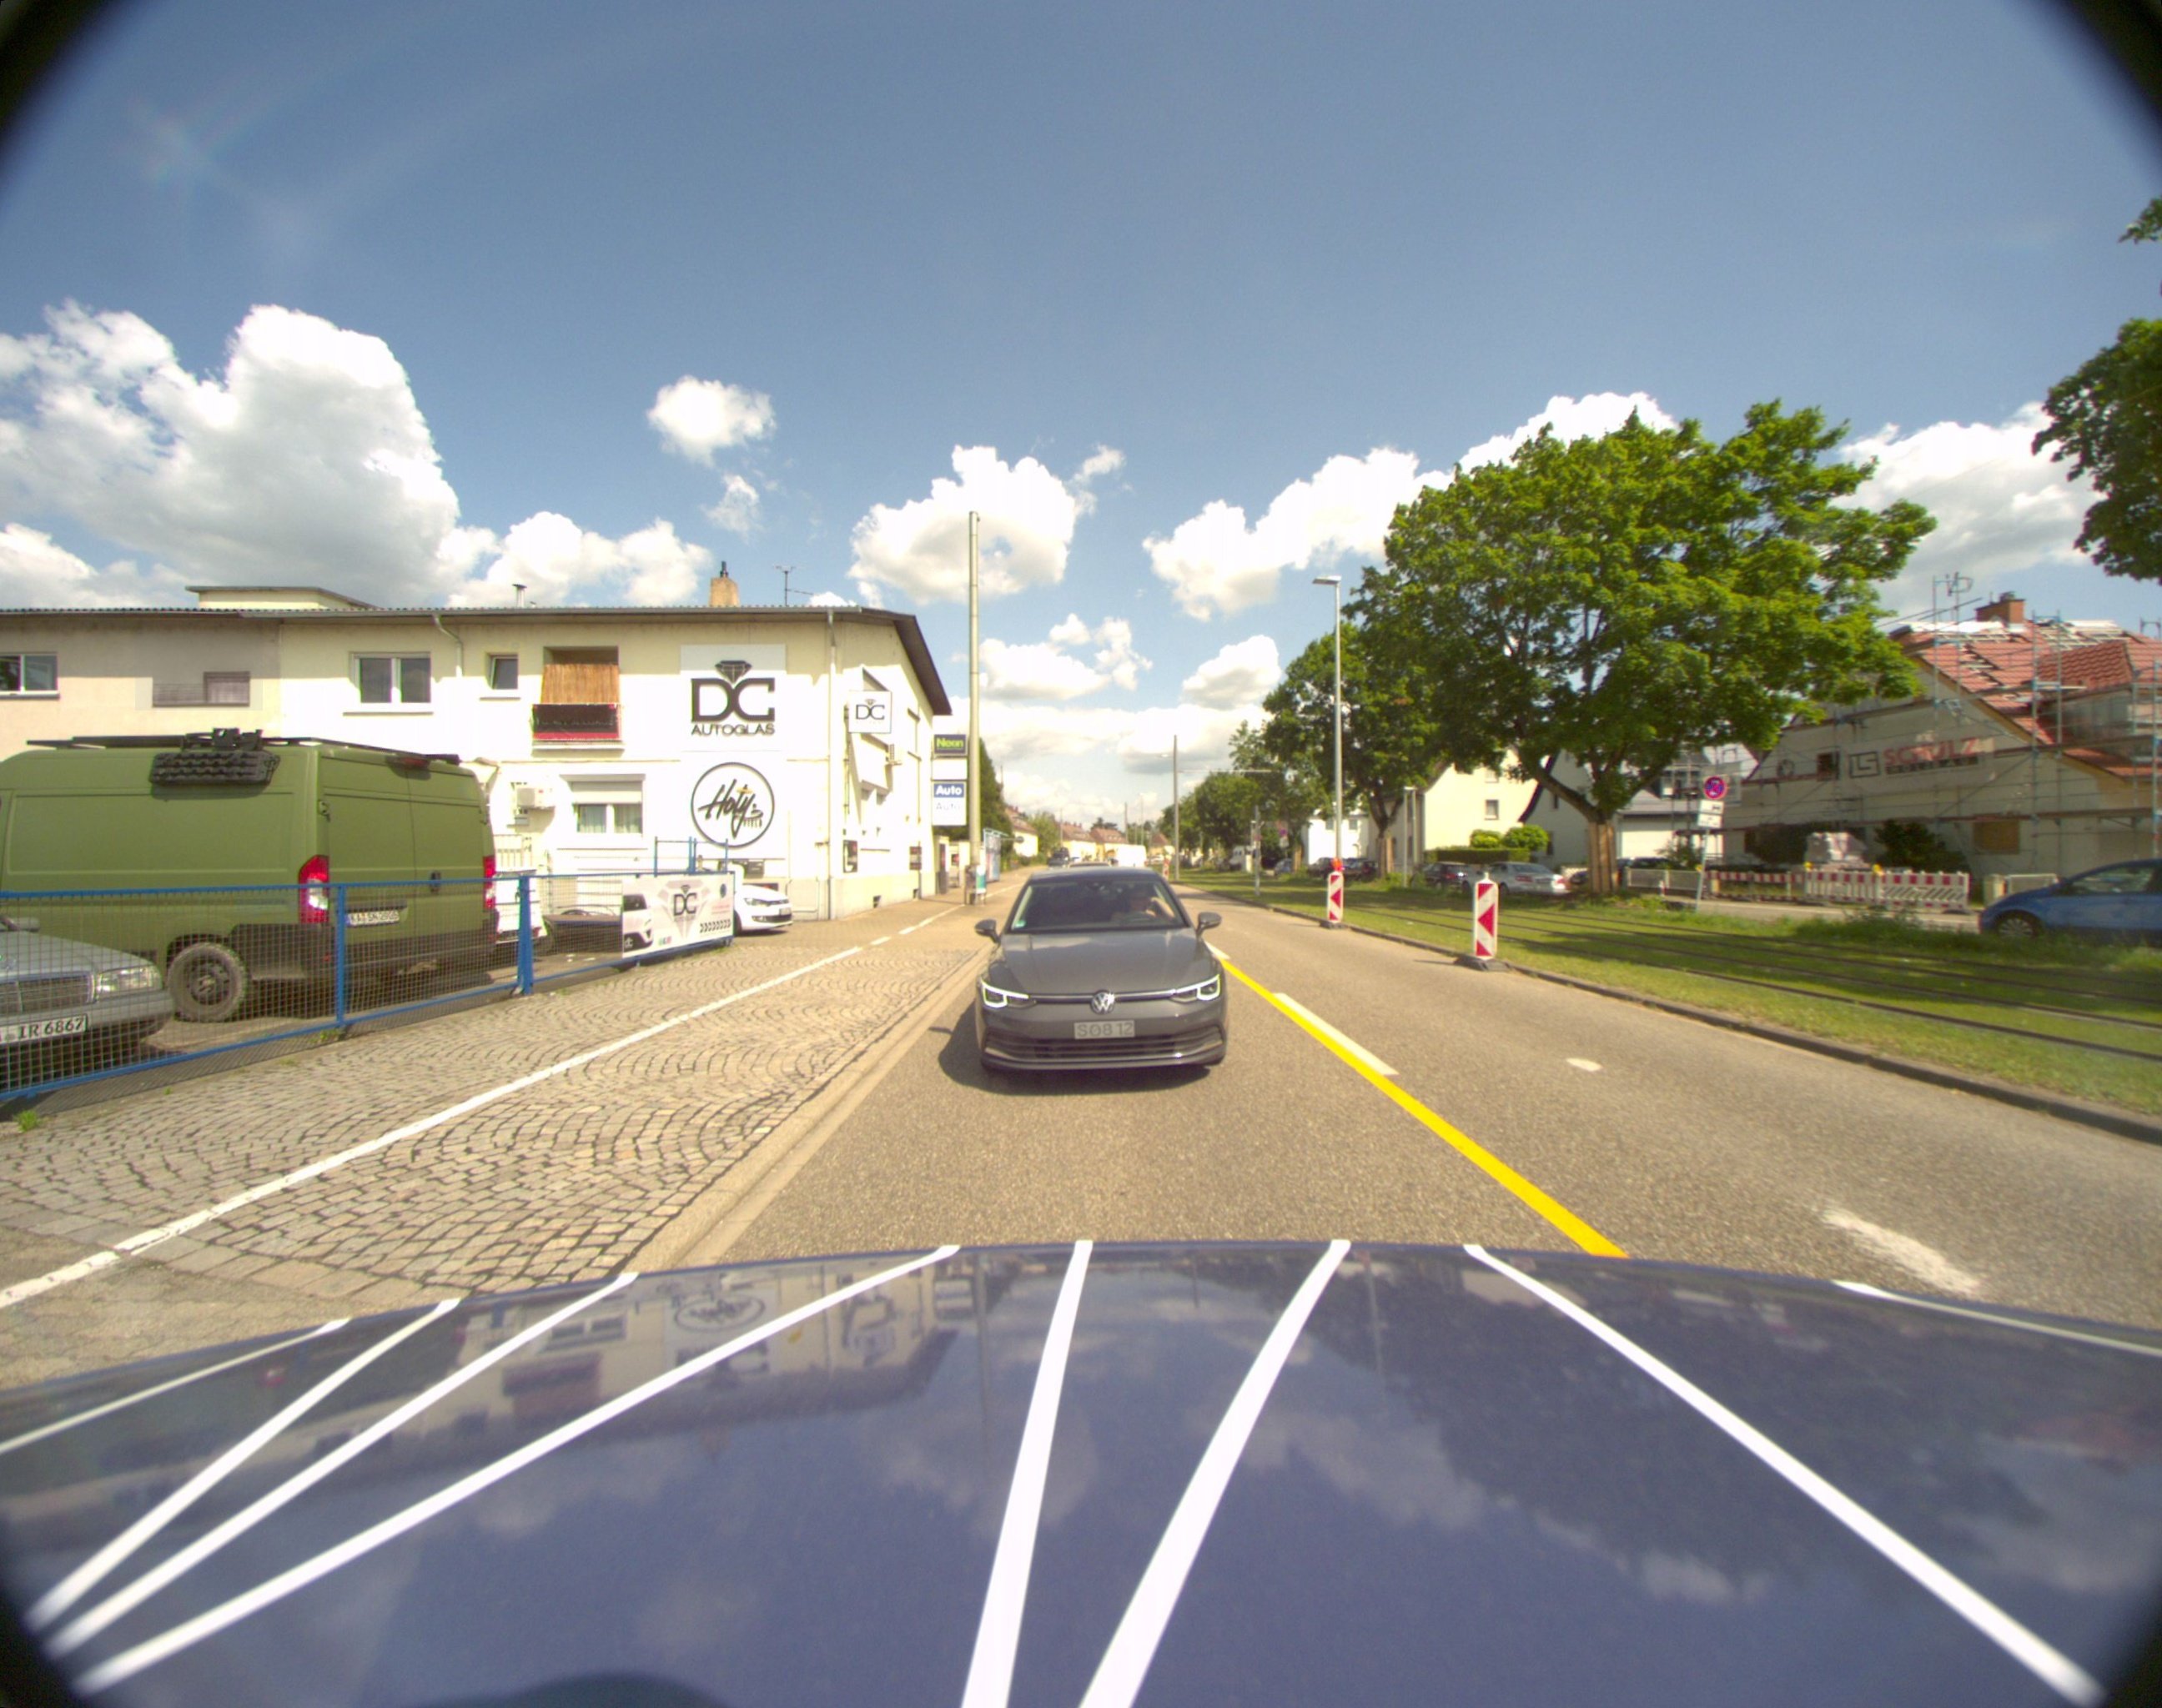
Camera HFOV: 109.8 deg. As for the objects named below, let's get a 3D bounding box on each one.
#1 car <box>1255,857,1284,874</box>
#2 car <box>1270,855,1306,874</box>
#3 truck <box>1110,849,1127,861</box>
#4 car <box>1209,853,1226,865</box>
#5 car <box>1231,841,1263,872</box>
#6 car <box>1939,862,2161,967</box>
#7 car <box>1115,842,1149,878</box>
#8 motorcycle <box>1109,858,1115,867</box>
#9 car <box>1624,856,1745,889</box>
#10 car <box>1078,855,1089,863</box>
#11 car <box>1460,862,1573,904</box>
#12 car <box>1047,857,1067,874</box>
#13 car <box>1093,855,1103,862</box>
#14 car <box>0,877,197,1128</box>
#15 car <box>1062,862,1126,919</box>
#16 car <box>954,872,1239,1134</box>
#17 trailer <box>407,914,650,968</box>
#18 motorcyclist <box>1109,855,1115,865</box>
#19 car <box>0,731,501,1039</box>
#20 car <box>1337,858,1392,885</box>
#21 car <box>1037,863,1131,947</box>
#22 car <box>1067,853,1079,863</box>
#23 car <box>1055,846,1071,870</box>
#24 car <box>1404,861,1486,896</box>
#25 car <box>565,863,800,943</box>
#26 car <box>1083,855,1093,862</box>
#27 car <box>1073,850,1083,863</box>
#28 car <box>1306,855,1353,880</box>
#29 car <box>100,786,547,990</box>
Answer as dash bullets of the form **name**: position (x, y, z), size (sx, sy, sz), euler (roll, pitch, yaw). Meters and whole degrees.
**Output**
- **car**: position (17.648, 1.082, 71.329), size (1.702, 1.477, 4.407), euler (-1, -1, 1)
- **car**: position (16.646, 0.879, 61.284), size (1.702, 1.477, 4.407), euler (-1, -1, 1)
- **truck**: position (9.917, 0.151, 201.053), size (2.710, 3.119, 8.124), euler (0, 0, 15)
- **car**: position (18.773, 0.679, 104.734), size (1.701, 1.477, 4.407), euler (-1, -1, 2)
- **car**: position (16.819, 0.278, 77.274), size (2.136, 3.019, 5.084), euler (-1, -1, 1)
- **car**: position (16.204, 0.869, 11.401), size (1.702, 1.477, 4.407), euler (-1, -1, 1)
- **car**: position (3.620, 0.401, 54.901), size (2.090, 2.449, 5.842), euler (2, 0, 2)
- **motorcycle**: position (4.003, 1.104, 98.187), size (0.658, 1.040, 2.111), euler (0, 0, 3)
- **car**: position (28.907, 0.894, 36.513), size (4.402, 1.477, 1.704), euler (-1, -1, 1)
- **car**: position (0.489, 0.909, 146.709), size (1.701, 1.574, 4.002), euler (0, 0, 6)
- **car**: position (16.409, 1.069, 28.939), size (1.788, 1.477, 4.523), euler (-1, -1, 2)
- **car**: position (-2.183, 1.051, 70.757), size (1.702, 1.574, 4.000), euler (0, 0, 1)
- **car**: position (3.852, 0.919, 173.600), size (1.700, 1.574, 4.004), euler (0, 0, 12)
- **car**: position (-8.458, 0.890, 4.777), size (4.282, 1.444, 1.713), euler (0, 0, 8)
- **car**: position (0.362, 0.995, 22.263), size (1.702, 1.477, 4.000), euler (0, 0, 1)
- **car**: position (0.119, 0.938, 6.536), size (1.702, 1.477, 4.000), euler (0, 0, 1)
- **trailer**: position (-8.366, 1.308, 11.662), size (2.733, 0.662, 1.329), euler (0, 0, -1)
- **motorcyclist**: position (4.002, 0.741, 98.256), size (0.658, 1.284, 0.780), euler (0, 0, 2)
- **car**: position (-8.725, 0.273, 7.612), size (4.207, 2.627, 2.113), euler (0, 0, 2)
- **car**: position (16.772, 1.039, 45.157), size (1.702, 1.477, 4.407), euler (-1, -1, 1)
- **car**: position (0.080, 0.943, 15.788), size (1.702, 1.477, 4.000), euler (0, 0, 1)
- **car**: position (-1.311, 0.678, 123.043), size (1.701, 1.574, 4.001), euler (0, 0, 3)
- **car**: position (-1.911, 0.453, 82.442), size (1.702, 2.510, 5.144), euler (0, 0, 0)
- **car**: position (16.627, 1.124, 34.940), size (1.702, 1.477, 4.407), euler (-1, -1, 1)
- **car**: position (-7.660, 0.918, 14.820), size (3.775, 1.454, 1.555), euler (0, 0, 2)
- **car**: position (1.448, 0.912, 155.840), size (1.701, 1.574, 4.002), euler (0, 0, 7)
- **car**: position (-0.484, 0.426, 136.405), size (1.701, 2.233, 4.947), euler (0, 0, 2)
- **car**: position (16.522, 0.903, 50.664), size (1.702, 1.562, 4.407), euler (-1, -1, 1)
- **car**: position (-9.499, 0.404, 9.744), size (4.207, 2.392, 1.586), euler (0, 0, 2)
